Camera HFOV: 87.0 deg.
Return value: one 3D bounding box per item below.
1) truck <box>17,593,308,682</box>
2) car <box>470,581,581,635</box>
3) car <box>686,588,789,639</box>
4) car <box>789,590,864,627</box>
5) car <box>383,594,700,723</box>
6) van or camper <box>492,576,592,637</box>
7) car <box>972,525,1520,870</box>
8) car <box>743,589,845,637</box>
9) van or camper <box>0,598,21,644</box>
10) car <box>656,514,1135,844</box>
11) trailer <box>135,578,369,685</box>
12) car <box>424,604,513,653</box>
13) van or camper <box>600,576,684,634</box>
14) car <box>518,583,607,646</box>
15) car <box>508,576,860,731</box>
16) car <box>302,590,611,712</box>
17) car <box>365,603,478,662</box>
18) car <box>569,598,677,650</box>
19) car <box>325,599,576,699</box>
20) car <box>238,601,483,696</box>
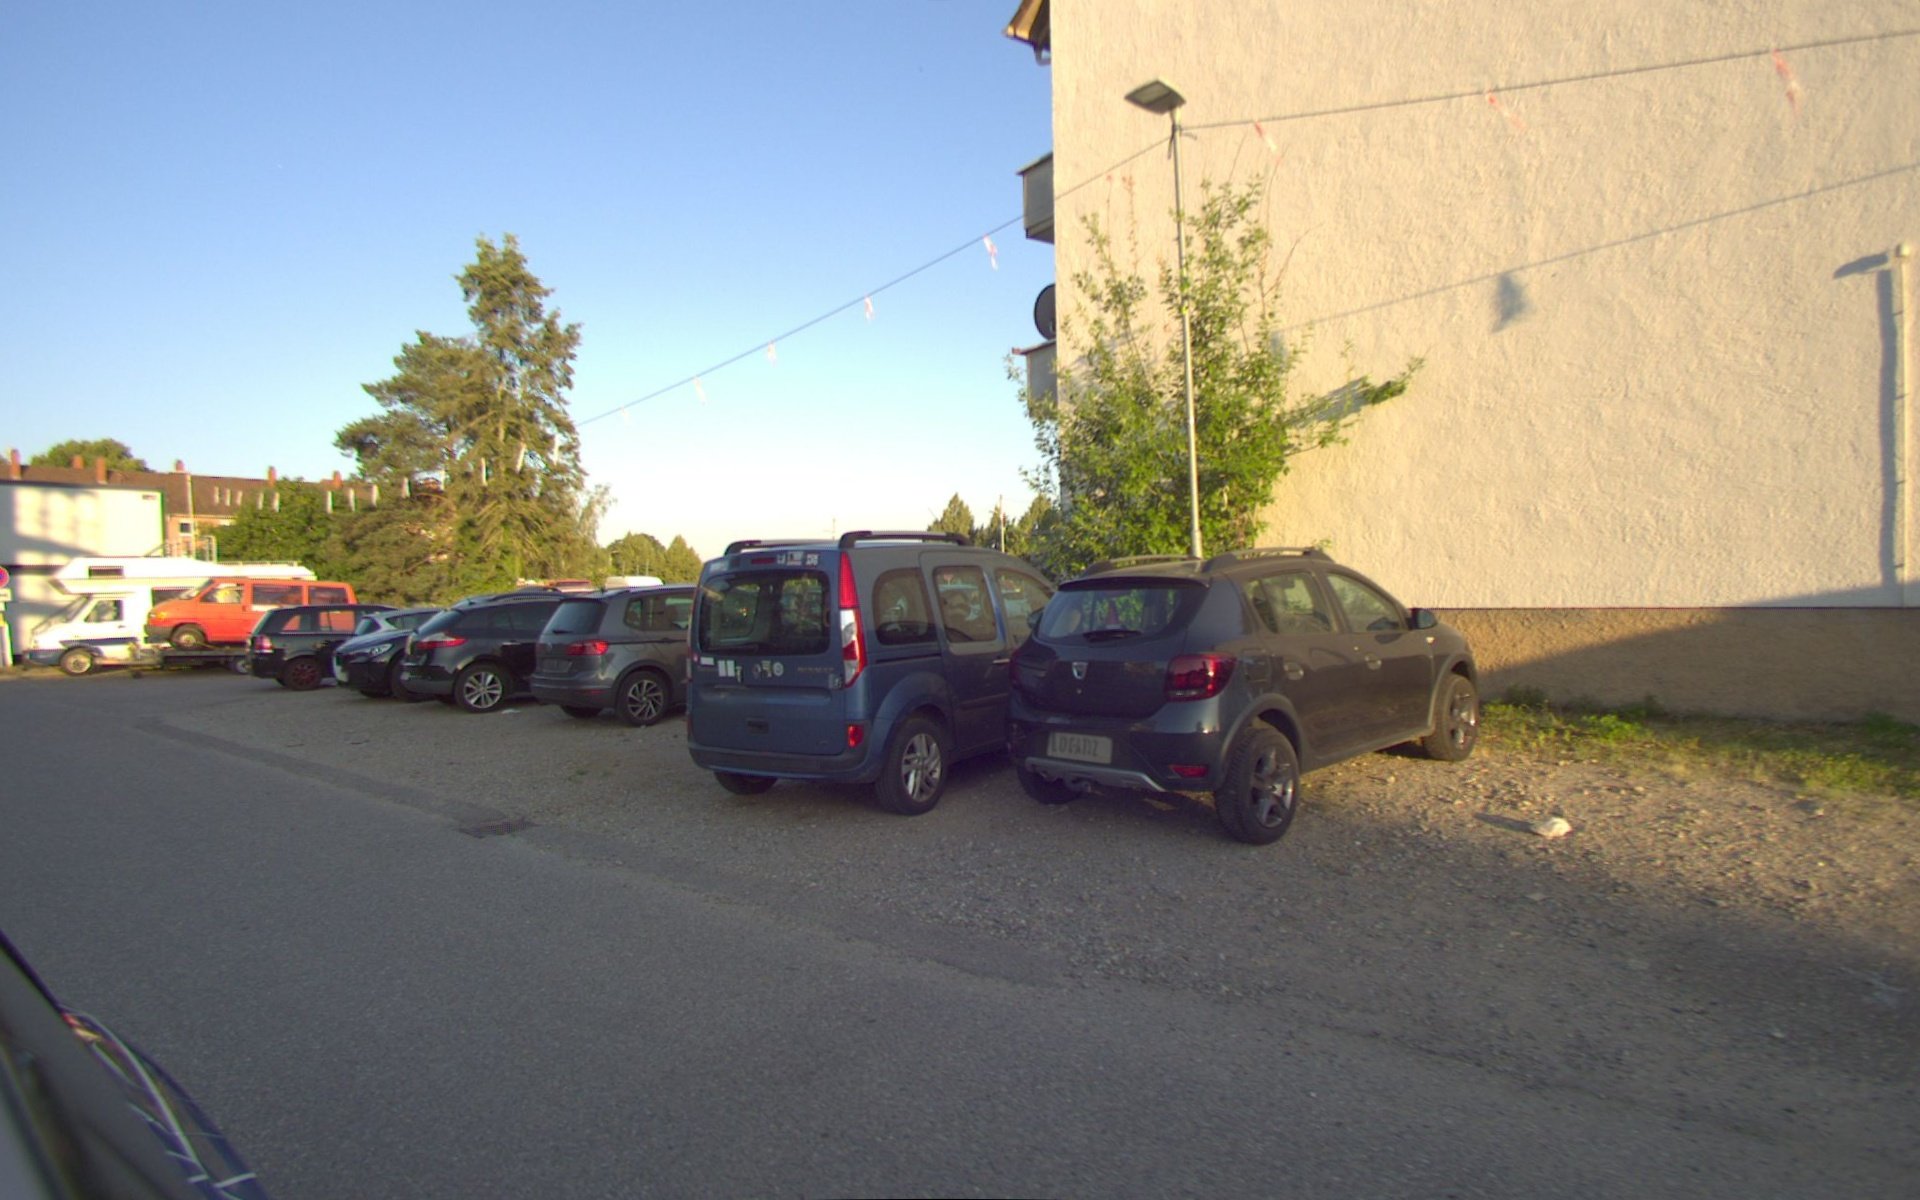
[{"bbox_3d":[-21.597,0.914,27.654,2.356,2.058,5.946,-1,1,43],"label":"truck"},{"bbox_3d":[-13.522,0.244,31.389,1.822,1.534,3.941,-2,1,-45],"label":"car"},{"bbox_3d":[-8.048,0.480,36.403,1.822,1.681,3.941,-2,1,-44],"label":"car"},{"bbox_3d":[-7.609,0.498,57.321,2.024,1.951,5.118,-2,0,-35],"label":"car"},{"bbox_3d":[-5.914,0.719,14.551,3.877,1.528,1.646,-2,1,-41],"label":"car"},{"bbox_3d":[-20.503,0.339,49.446,5.800,2.791,2.231,-1,0,43],"label":"van or camper"},{"bbox_3d":[2.133,0.401,6.917,3.878,1.664,1.750,-4,2,-42],"label":"car"},{"bbox_3d":[-6.232,0.475,37.806,1.822,1.681,3.941,-2,1,-44],"label":"car"},{"bbox_3d":[-59.087,1.450,58.746,2.406,2.659,6.388,-2,2,42],"label":"van or camper"},{"bbox_3d":[-0.231,0.391,8.003,1.743,1.925,3.895,-2,2,33],"label":"car"},{"bbox_3d":[-18.572,0.713,26.706,4.736,2.450,2.136,-3,3,-43],"label":"trailer"},{"bbox_3d":[-18.369,1.101,37.693,1.820,1.580,4.829,-2,-2,-40],"label":"car"},{"bbox_3d":[-16.125,0.264,51.051,2.174,2.728,5.760,-2,0,-37],"label":"van or camper"},{"bbox_3d":[-15.530,0.608,39.424,1.820,2.165,4.830,-2,-2,-38],"label":"car"},{"bbox_3d":[-3.307,0.557,12.603,3.879,1.592,1.645,-2,0,-44],"label":"car"},{"bbox_3d":[-7.948,0.734,16.239,1.821,1.640,4.045,-3,-1,43],"label":"car"},{"bbox_3d":[-15.678,0.899,29.382,1.822,1.534,3.941,-2,1,-45],"label":"car"},{"bbox_3d":[-11.083,0.767,33.159,1.822,1.534,3.941,-2,1,-44],"label":"car"},{"bbox_3d":[-9.615,0.864,19.236,3.877,1.532,1.811,-4,0,-41],"label":"car"},{"bbox_3d":[-12.073,0.898,20.504,3.986,1.632,1.852,-2,1,-41],"label":"car"}]
